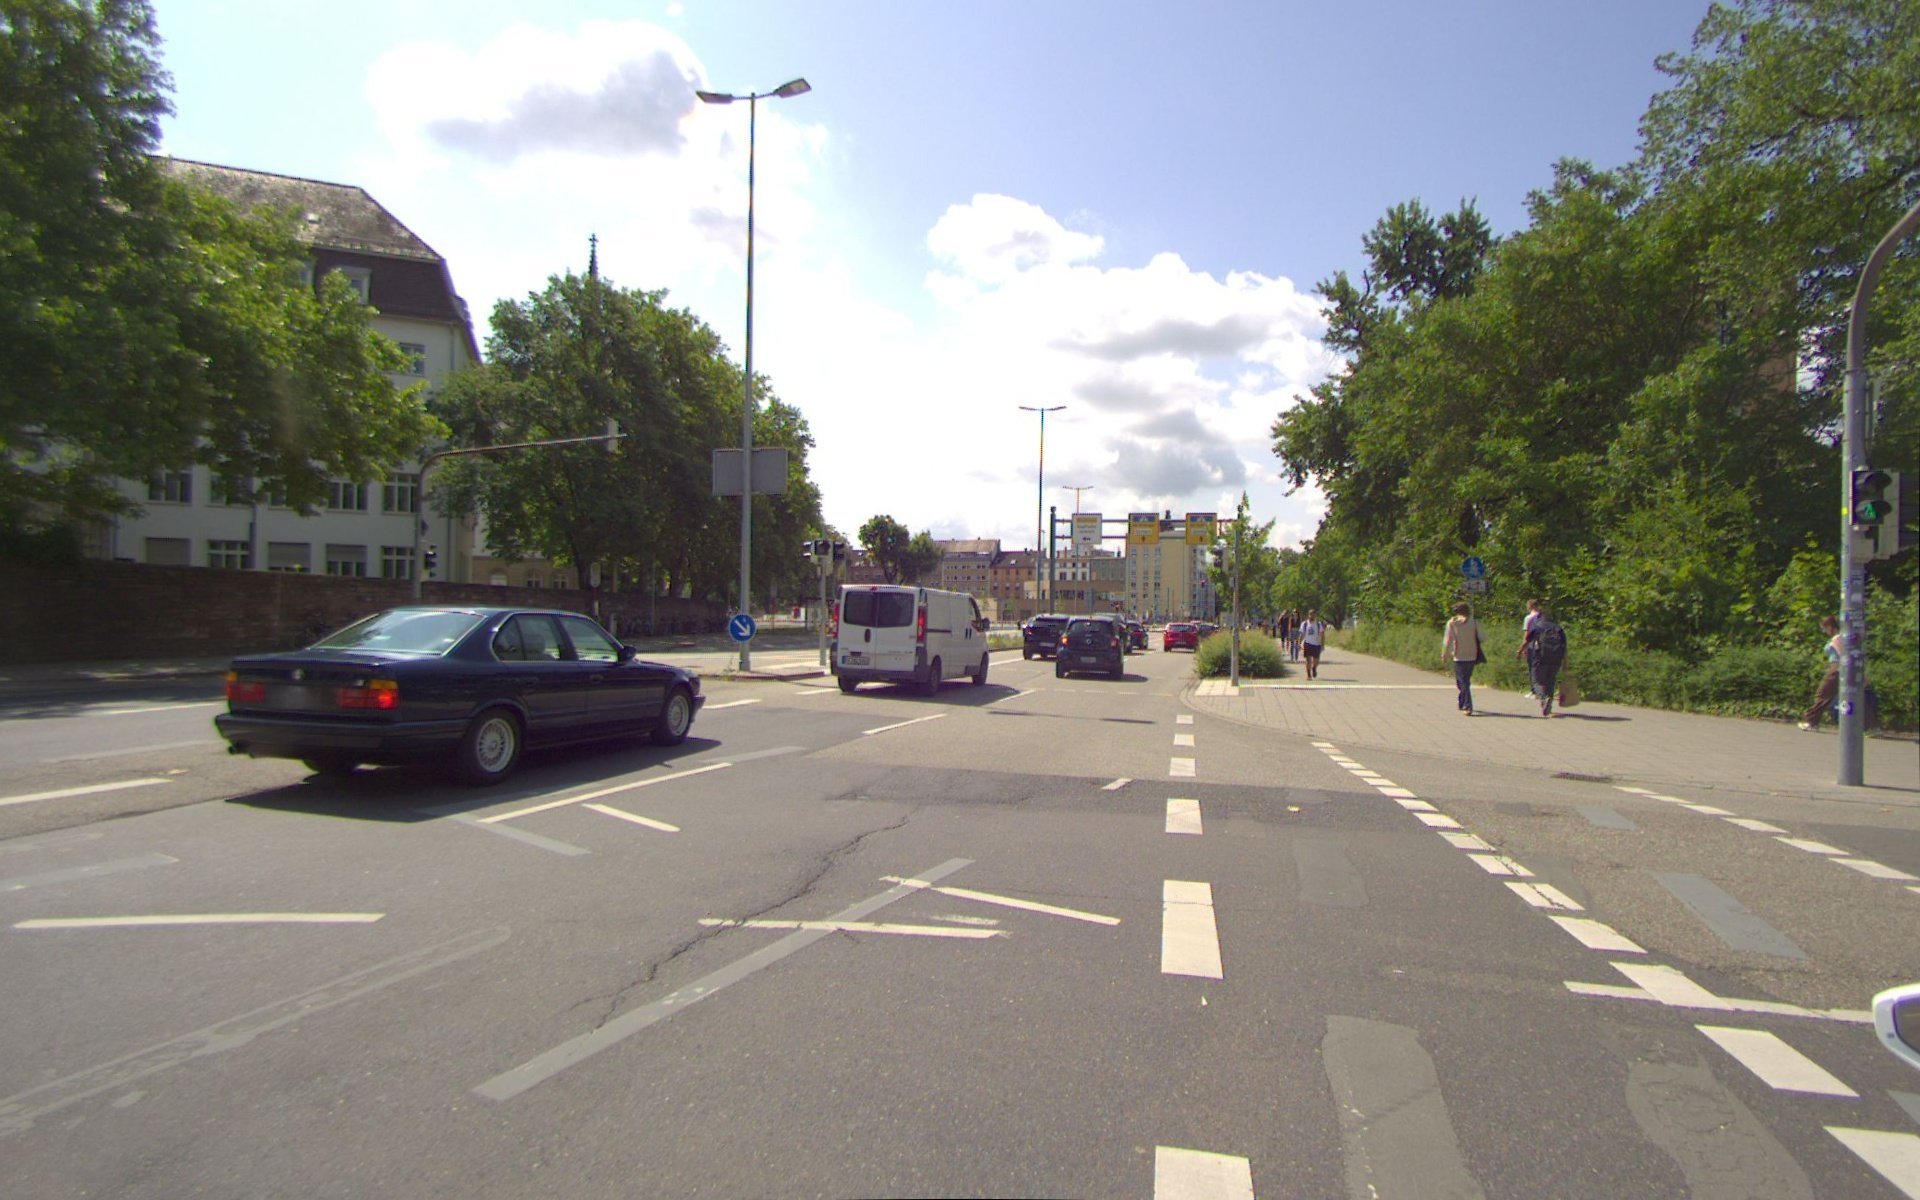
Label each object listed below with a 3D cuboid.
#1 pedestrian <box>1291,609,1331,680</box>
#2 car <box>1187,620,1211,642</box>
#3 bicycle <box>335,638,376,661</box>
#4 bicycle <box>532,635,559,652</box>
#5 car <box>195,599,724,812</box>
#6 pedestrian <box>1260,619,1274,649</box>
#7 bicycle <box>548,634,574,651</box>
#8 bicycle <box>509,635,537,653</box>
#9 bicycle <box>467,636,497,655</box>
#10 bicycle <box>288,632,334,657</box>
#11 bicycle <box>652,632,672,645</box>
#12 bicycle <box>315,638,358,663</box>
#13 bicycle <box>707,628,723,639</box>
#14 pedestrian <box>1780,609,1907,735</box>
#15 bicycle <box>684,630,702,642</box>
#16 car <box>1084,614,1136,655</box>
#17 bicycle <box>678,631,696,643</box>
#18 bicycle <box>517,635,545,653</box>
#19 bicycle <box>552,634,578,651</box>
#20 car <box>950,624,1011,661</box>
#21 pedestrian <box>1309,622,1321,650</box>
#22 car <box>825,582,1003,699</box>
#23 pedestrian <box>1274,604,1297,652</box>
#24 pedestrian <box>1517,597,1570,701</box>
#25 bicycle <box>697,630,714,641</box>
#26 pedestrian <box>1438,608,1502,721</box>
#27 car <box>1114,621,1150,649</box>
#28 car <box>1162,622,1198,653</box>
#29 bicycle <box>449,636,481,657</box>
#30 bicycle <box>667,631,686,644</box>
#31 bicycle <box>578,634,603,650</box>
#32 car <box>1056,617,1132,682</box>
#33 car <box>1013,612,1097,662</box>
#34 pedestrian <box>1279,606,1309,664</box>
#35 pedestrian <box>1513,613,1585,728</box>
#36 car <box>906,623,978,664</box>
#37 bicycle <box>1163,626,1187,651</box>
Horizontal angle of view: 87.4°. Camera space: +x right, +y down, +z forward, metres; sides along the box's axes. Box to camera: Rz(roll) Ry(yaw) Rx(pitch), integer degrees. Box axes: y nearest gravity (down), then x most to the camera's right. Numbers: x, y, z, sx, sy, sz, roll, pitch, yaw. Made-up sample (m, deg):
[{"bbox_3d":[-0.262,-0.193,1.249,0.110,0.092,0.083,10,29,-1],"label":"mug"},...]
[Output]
[{"bbox_3d":[8.681,1.101,24.888,0.837,1.723,0.932,-1,-2,14],"label":"pedestrian"},{"bbox_3d":[17.026,2.201,71.445,1.584,1.430,3.519,2,-1,14],"label":"car"},{"bbox_3d":[-18.706,1.530,31.086,0.990,0.691,0.408,3,-1,-14],"label":"bicycle"},{"bbox_3d":[-17.390,1.821,42.152,0.994,0.691,0.406,3,-1,-27],"label":"bicycle"},{"bbox_3d":[-4.061,0.765,9.215,1.663,1.405,4.616,1,-1,15],"label":"car"},{"bbox_3d":[20.732,2.269,67.763,0.824,1.995,0.861,0,-1,12],"label":"pedestrian"},{"bbox_3d":[-17.274,1.853,43.445,0.994,0.691,0.406,3,-1,-27],"label":"bicycle"},{"bbox_3d":[-17.636,1.776,40.540,0.994,0.691,0.406,3,-1,-27],"label":"bicycle"},{"bbox_3d":[-17.938,1.704,37.713,0.994,0.691,0.406,3,-1,-27],"label":"bicycle"},{"bbox_3d":[-18.749,1.287,29.033,0.990,0.691,0.408,3,-1,-14],"label":"bicycle"},{"bbox_3d":[-16.630,2.148,56.069,0.994,0.691,0.406,3,-1,-27],"label":"bicycle"},{"bbox_3d":[-18.729,1.511,30.198,0.990,0.691,0.408,3,-1,-14],"label":"bicycle"},{"bbox_3d":[-17.116,2.325,70.146,0.994,0.691,0.406,3,-1,-27],"label":"bicycle"},{"bbox_3d":[12.126,0.954,13.817,0.842,1.648,1.018,-1,0,-12],"label":"pedestrian"},{"bbox_3d":[-16.661,2.237,62.700,0.994,0.691,0.406,3,-1,-27],"label":"bicycle"},{"bbox_3d":[6.558,1.489,43.640,1.796,1.622,4.396,2,-1,14],"label":"car"},{"bbox_3d":[-16.660,2.256,61.267,0.994,0.691,0.406,3,-1,-27],"label":"bicycle"},{"bbox_3d":[-17.577,1.792,41.161,0.994,0.691,0.406,3,-1,-27],"label":"bicycle"},{"bbox_3d":[-17.385,1.865,44.231,0.994,0.691,0.406,3,-1,-27],"label":"bicycle"},{"bbox_3d":[0.947,1.847,44.328,1.719,1.491,3.807,1,-1,17],"label":"car"},{"bbox_3d":[24.717,2.497,70.021,0.495,1.915,0.558,3,-1,-16],"label":"pedestrian"},{"bbox_3d":[-0.724,0.750,20.052,1.972,1.981,5.196,1,-1,16],"label":"car"},{"bbox_3d":[13.657,1.169,42.117,0.824,1.995,0.861,0,-1,12],"label":"pedestrian"},{"bbox_3d":[10.583,0.874,18.248,0.659,1.845,0.703,1,0,16],"label":"pedestrian"},{"bbox_3d":[-16.731,2.353,65.976,0.994,0.691,0.406,3,-1,-27],"label":"bicycle"},{"bbox_3d":[8.178,1.002,16.151,0.782,1.727,1.182,1,0,22],"label":"pedestrian"},{"bbox_3d":[8.934,1.783,52.012,1.584,1.343,3.519,1,-1,14],"label":"car"},{"bbox_3d":[10.918,1.811,49.719,1.584,1.430,3.519,1,-1,14],"label":"car"},{"bbox_3d":[-17.873,1.676,36.253,0.994,0.691,0.406,3,-1,-27],"label":"bicycle"},{"bbox_3d":[-16.684,2.210,59.125,0.994,0.691,0.406,3,-1,-27],"label":"bicycle"},{"bbox_3d":[-17.203,1.939,46.774,0.994,0.691,0.406,3,-1,-27],"label":"bicycle"},{"bbox_3d":[3.532,1.217,26.010,1.584,1.504,3.519,1,-1,14],"label":"car"},{"bbox_3d":[3.390,1.231,34.910,1.983,1.550,4.889,2,-1,16],"label":"car"},{"bbox_3d":[11.118,1.144,33.487,0.824,1.893,1.020,0,-1,12],"label":"pedestrian"},{"bbox_3d":[9.331,1.081,15.957,0.782,1.727,1.182,1,0,22],"label":"pedestrian"},{"bbox_3d":[-0.653,1.671,39.130,1.719,1.491,3.807,1,-1,17],"label":"car"},{"bbox_3d":[18.836,3.325,87.992,1.959,2.040,4.003,2,-1,12],"label":"bicycle"}]
